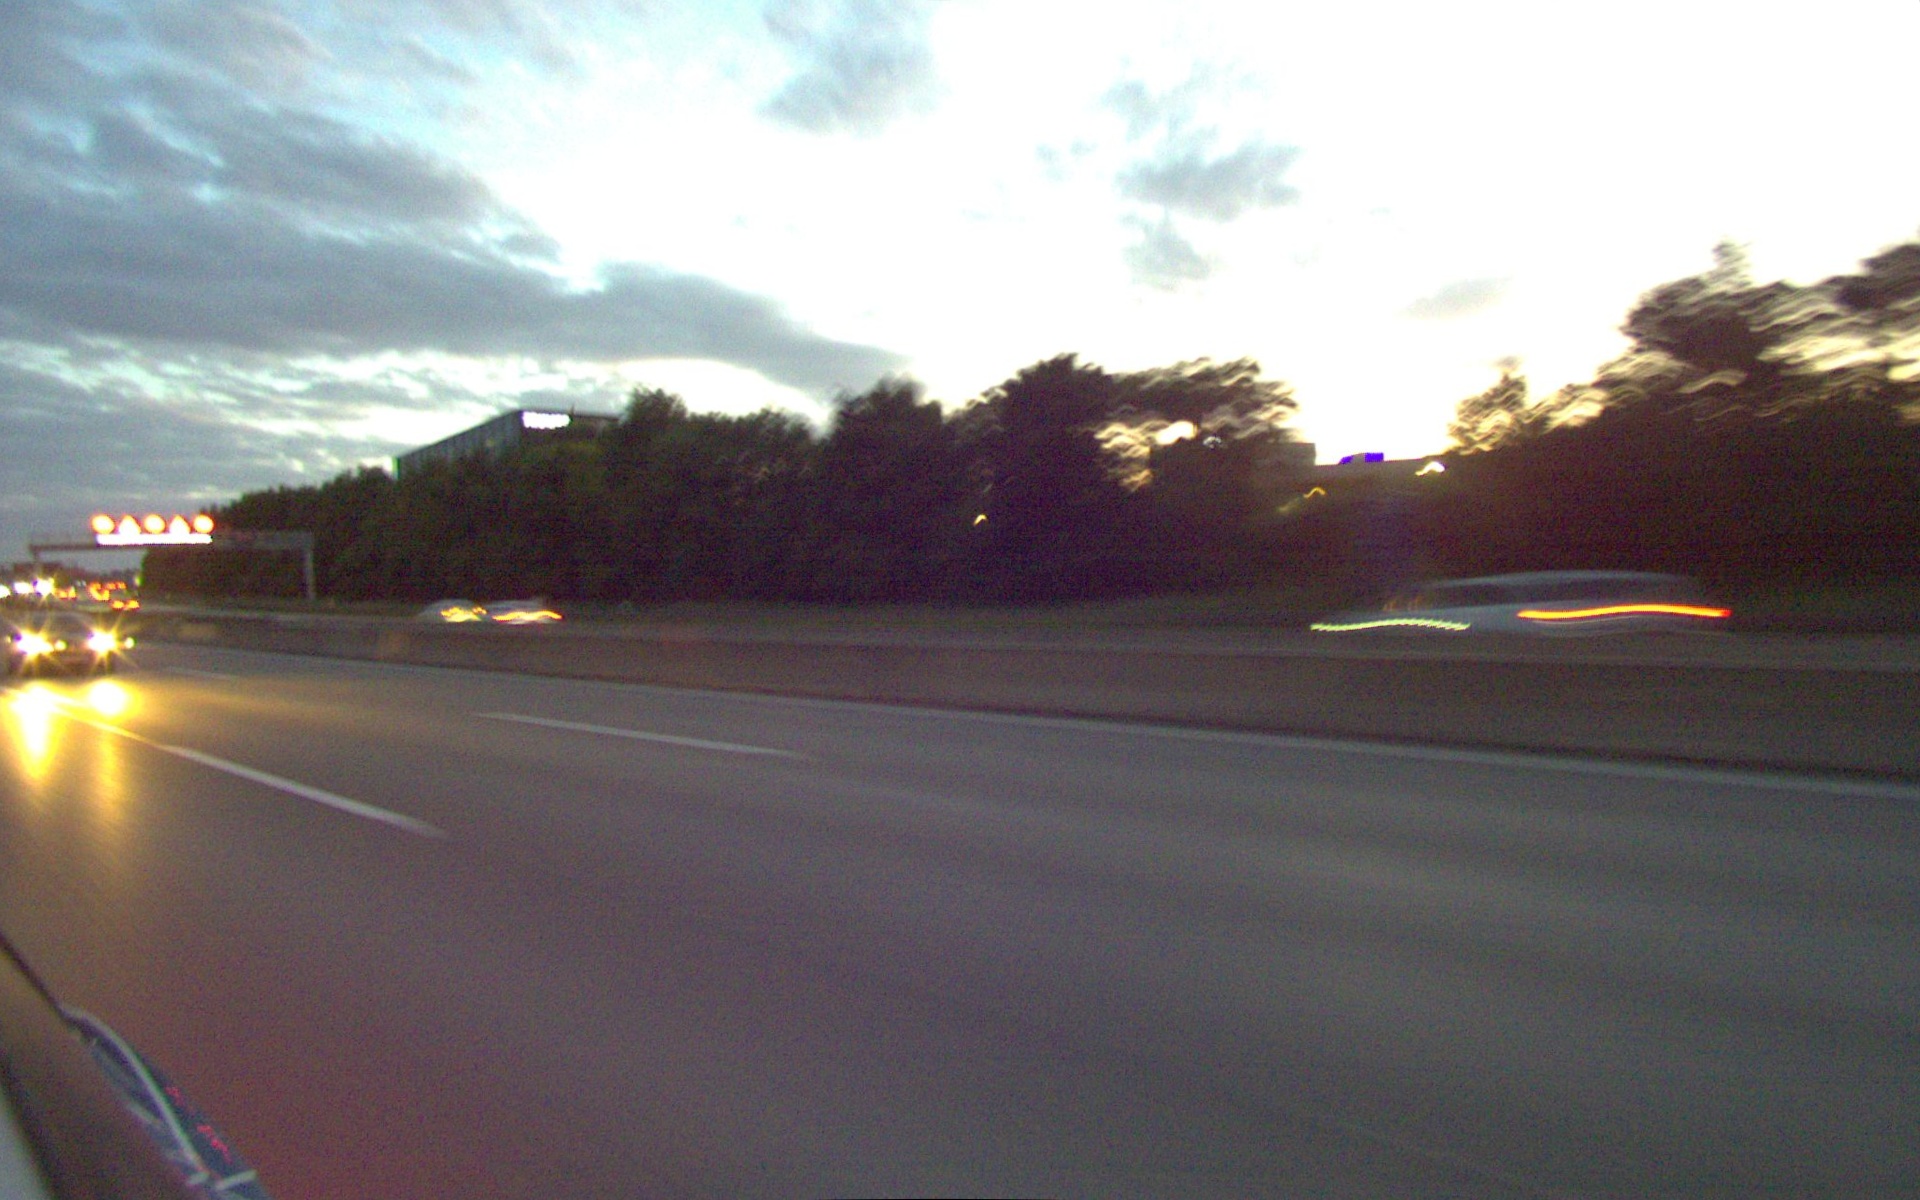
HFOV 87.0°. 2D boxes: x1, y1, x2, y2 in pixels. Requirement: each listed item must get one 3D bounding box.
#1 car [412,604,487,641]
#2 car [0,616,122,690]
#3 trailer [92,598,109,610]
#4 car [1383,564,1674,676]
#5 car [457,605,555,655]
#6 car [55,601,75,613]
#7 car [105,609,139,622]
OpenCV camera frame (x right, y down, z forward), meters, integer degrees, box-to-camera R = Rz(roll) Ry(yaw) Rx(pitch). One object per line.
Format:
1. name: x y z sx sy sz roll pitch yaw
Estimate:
1. car: -29.037 1.210 57.504 5.055 1.907 1.973 1 2 41
2. car: -21.554 1.185 24.146 3.997 1.491 1.696 1 2 40
3. trailer: -156.635 0.795 184.429 4.242 2.017 1.892 -1 2 44
4. car: 10.896 0.301 19.569 4.674 1.907 1.974 1 2 39
5. car: -19.508 1.247 43.388 5.055 1.907 1.856 1 2 41
6. car: -153.540 1.140 173.597 6.015 1.881 1.892 1 2 43
7. car: -89.281 1.670 107.765 5.233 1.235 2.038 1 2 42
